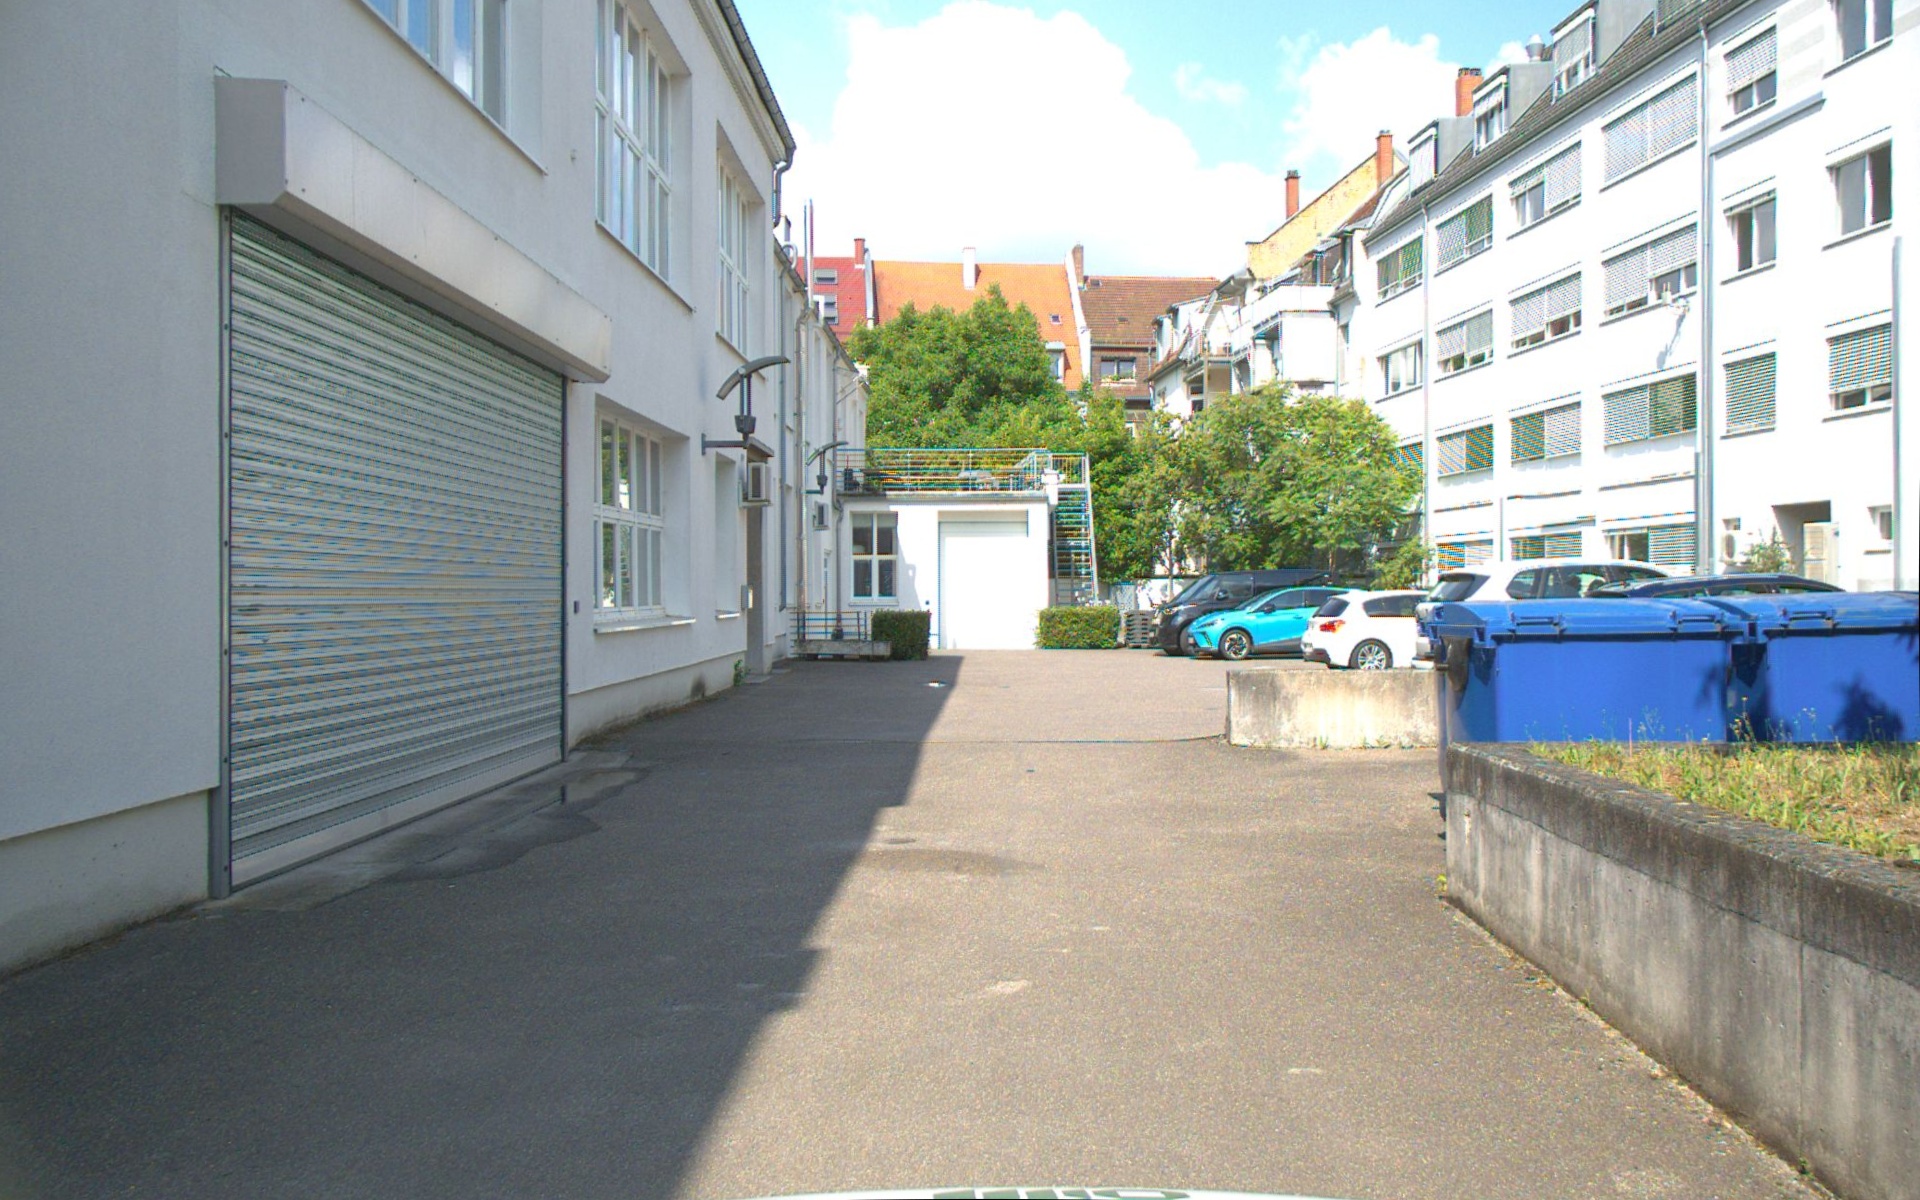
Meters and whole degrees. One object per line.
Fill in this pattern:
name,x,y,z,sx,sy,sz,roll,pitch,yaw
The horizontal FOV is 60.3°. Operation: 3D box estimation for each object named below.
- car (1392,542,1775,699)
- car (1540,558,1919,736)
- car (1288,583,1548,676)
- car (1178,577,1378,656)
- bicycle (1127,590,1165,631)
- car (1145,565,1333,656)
car,7.493,0.227,20.127,3.909,1.776,1.948,1,1,-5
car,8.472,0.498,17.469,4.032,1.634,1.753,3,0,-5
car,7.678,0.477,27.922,3.909,1.470,1.628,0,2,-5
car,6.755,0.334,35.358,3.909,1.601,1.628,0,2,-5
bicycle,5.352,0.287,47.656,0.629,1.137,1.855,3,0,-8
car,6.373,0.240,38.034,3.909,1.849,1.662,3,0,-5
